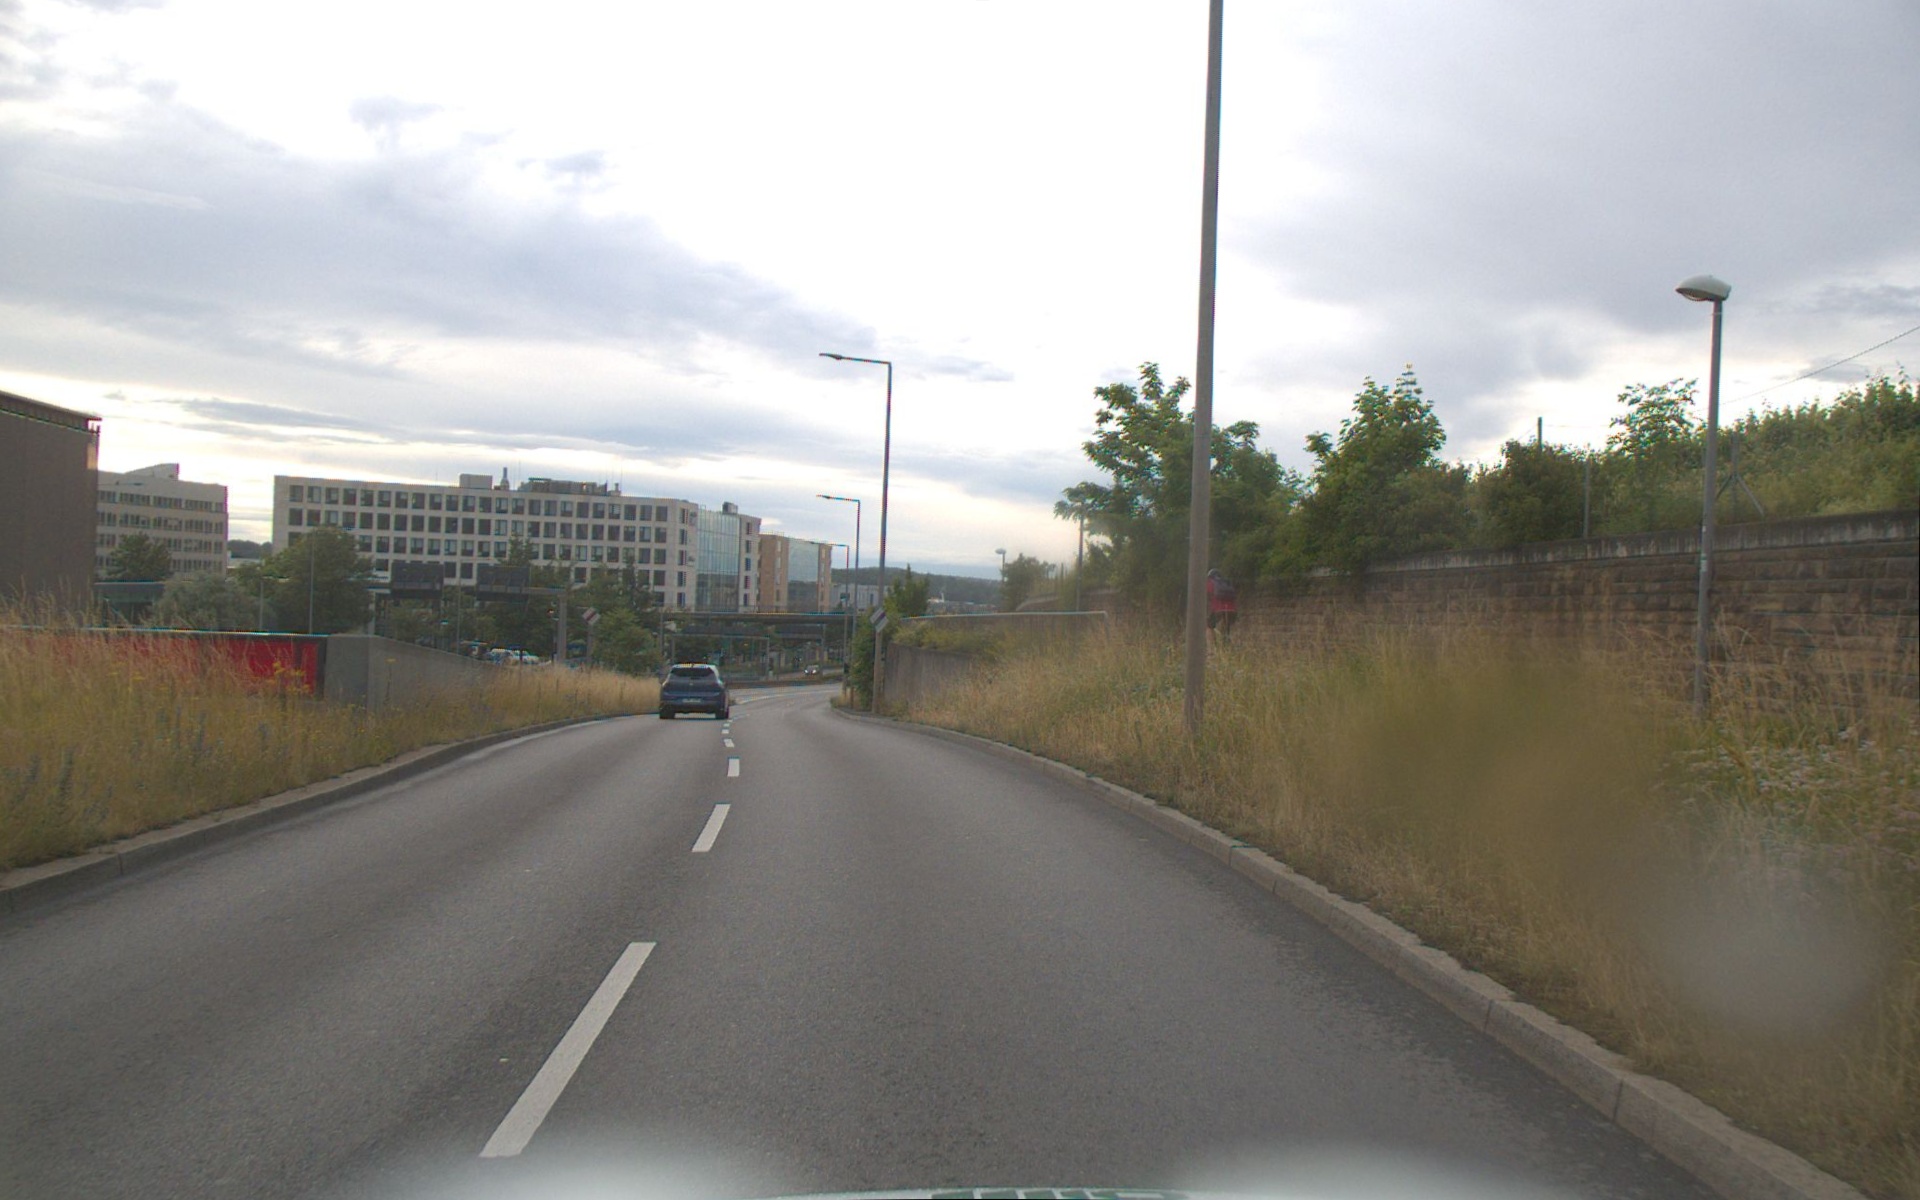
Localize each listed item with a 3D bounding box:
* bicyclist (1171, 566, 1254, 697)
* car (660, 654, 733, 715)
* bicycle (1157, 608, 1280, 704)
[{"bbox_3d":[3.941,0.486,25.912,0.853,1.942,1.291,4,-1,-8],"label":"bicyclist"},{"bbox_3d":[-7.103,2.250,44.765,1.715,1.445,3.474,1,0,-6],"label":"car"},{"bbox_3d":[3.977,0.820,25.808,0.853,1.310,3.480,4,0,-8],"label":"bicycle"}]
